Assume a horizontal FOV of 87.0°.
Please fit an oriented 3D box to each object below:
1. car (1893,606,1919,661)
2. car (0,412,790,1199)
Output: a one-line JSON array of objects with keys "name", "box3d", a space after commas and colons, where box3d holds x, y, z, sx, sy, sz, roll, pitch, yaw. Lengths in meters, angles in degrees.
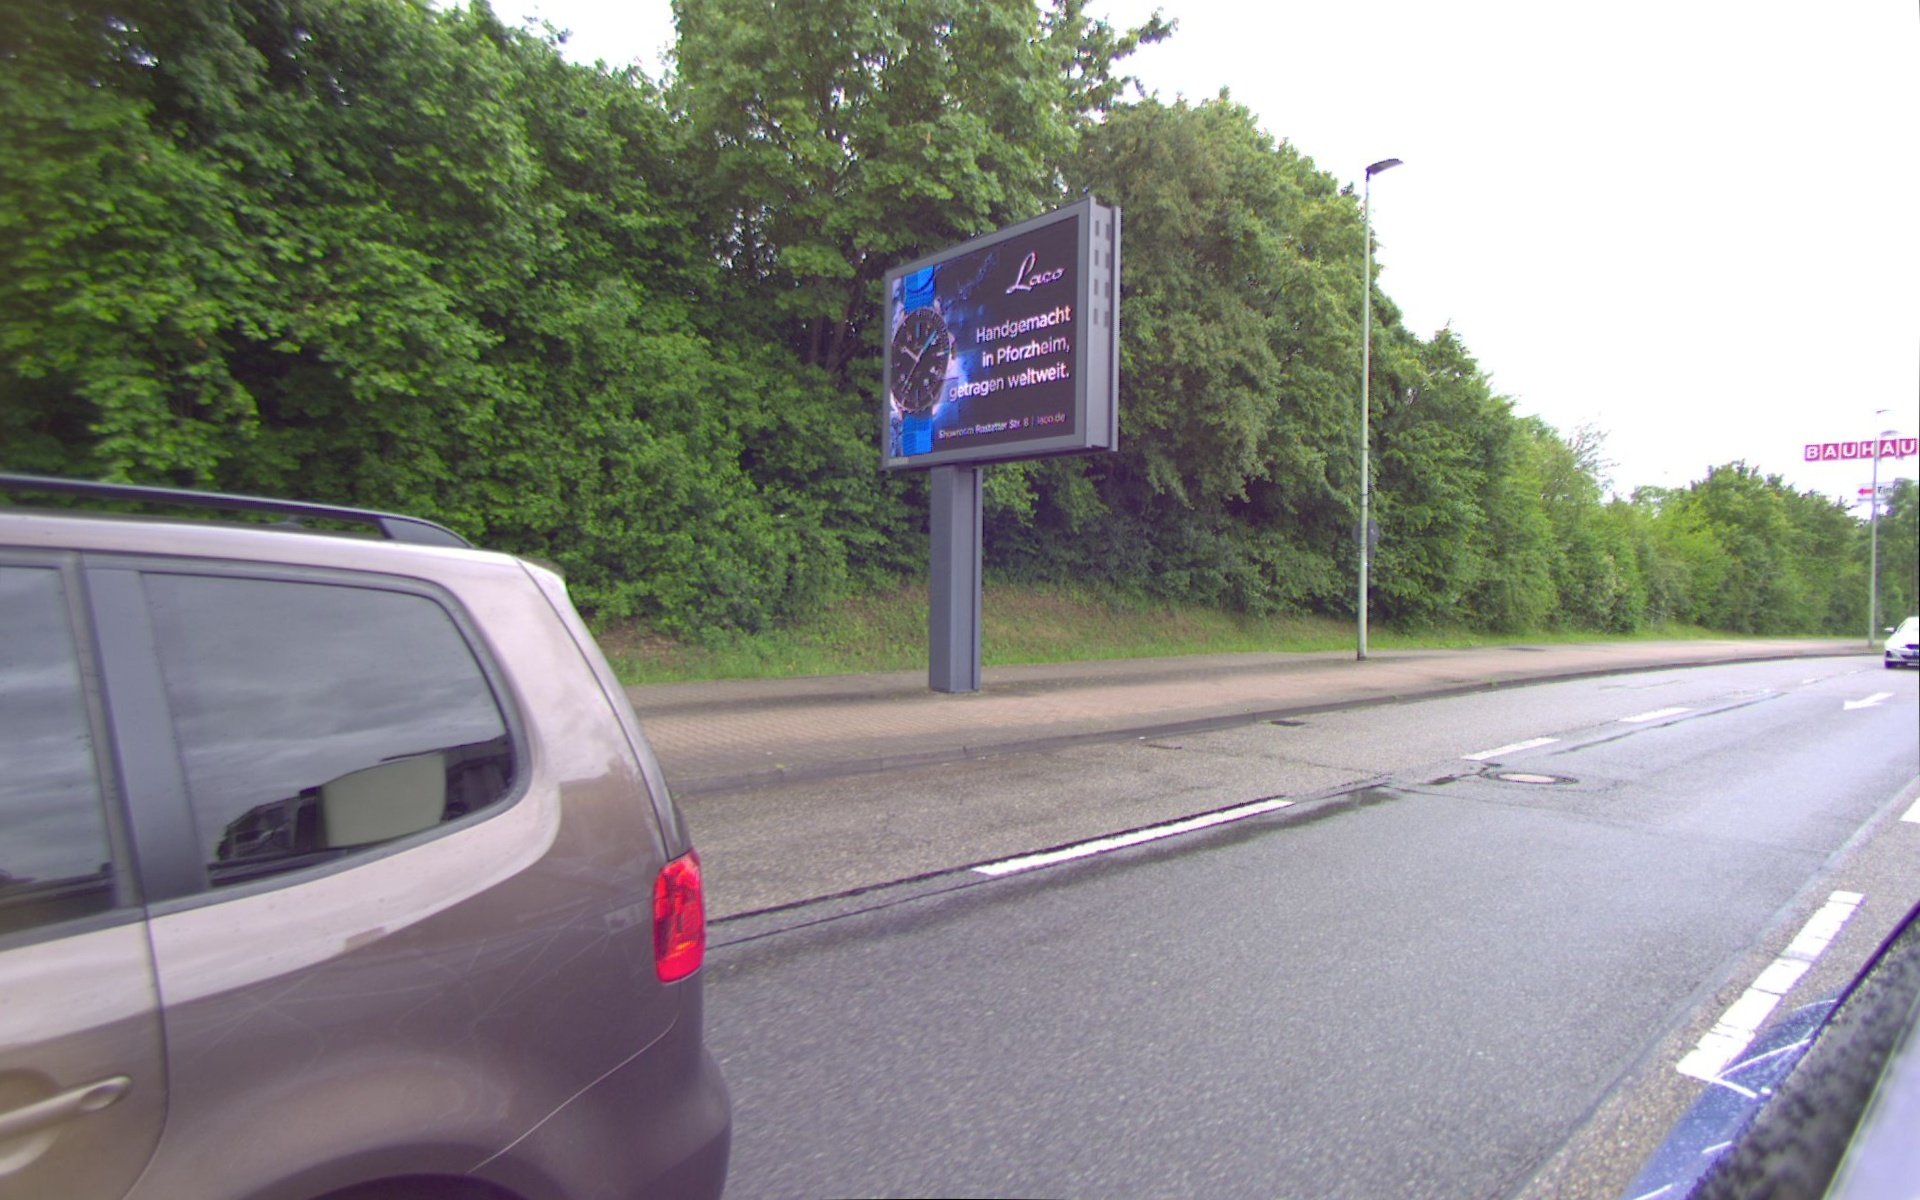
[{"name": "car", "box3d": [27.875, 0.964, 28.364, 3.925, 1.500, 1.865, 1, 0, -37]}, {"name": "car", "box3d": [-2.371, 0.581, 1.025, 4.060, 1.617, 1.716, 1, 0, -43]}]
